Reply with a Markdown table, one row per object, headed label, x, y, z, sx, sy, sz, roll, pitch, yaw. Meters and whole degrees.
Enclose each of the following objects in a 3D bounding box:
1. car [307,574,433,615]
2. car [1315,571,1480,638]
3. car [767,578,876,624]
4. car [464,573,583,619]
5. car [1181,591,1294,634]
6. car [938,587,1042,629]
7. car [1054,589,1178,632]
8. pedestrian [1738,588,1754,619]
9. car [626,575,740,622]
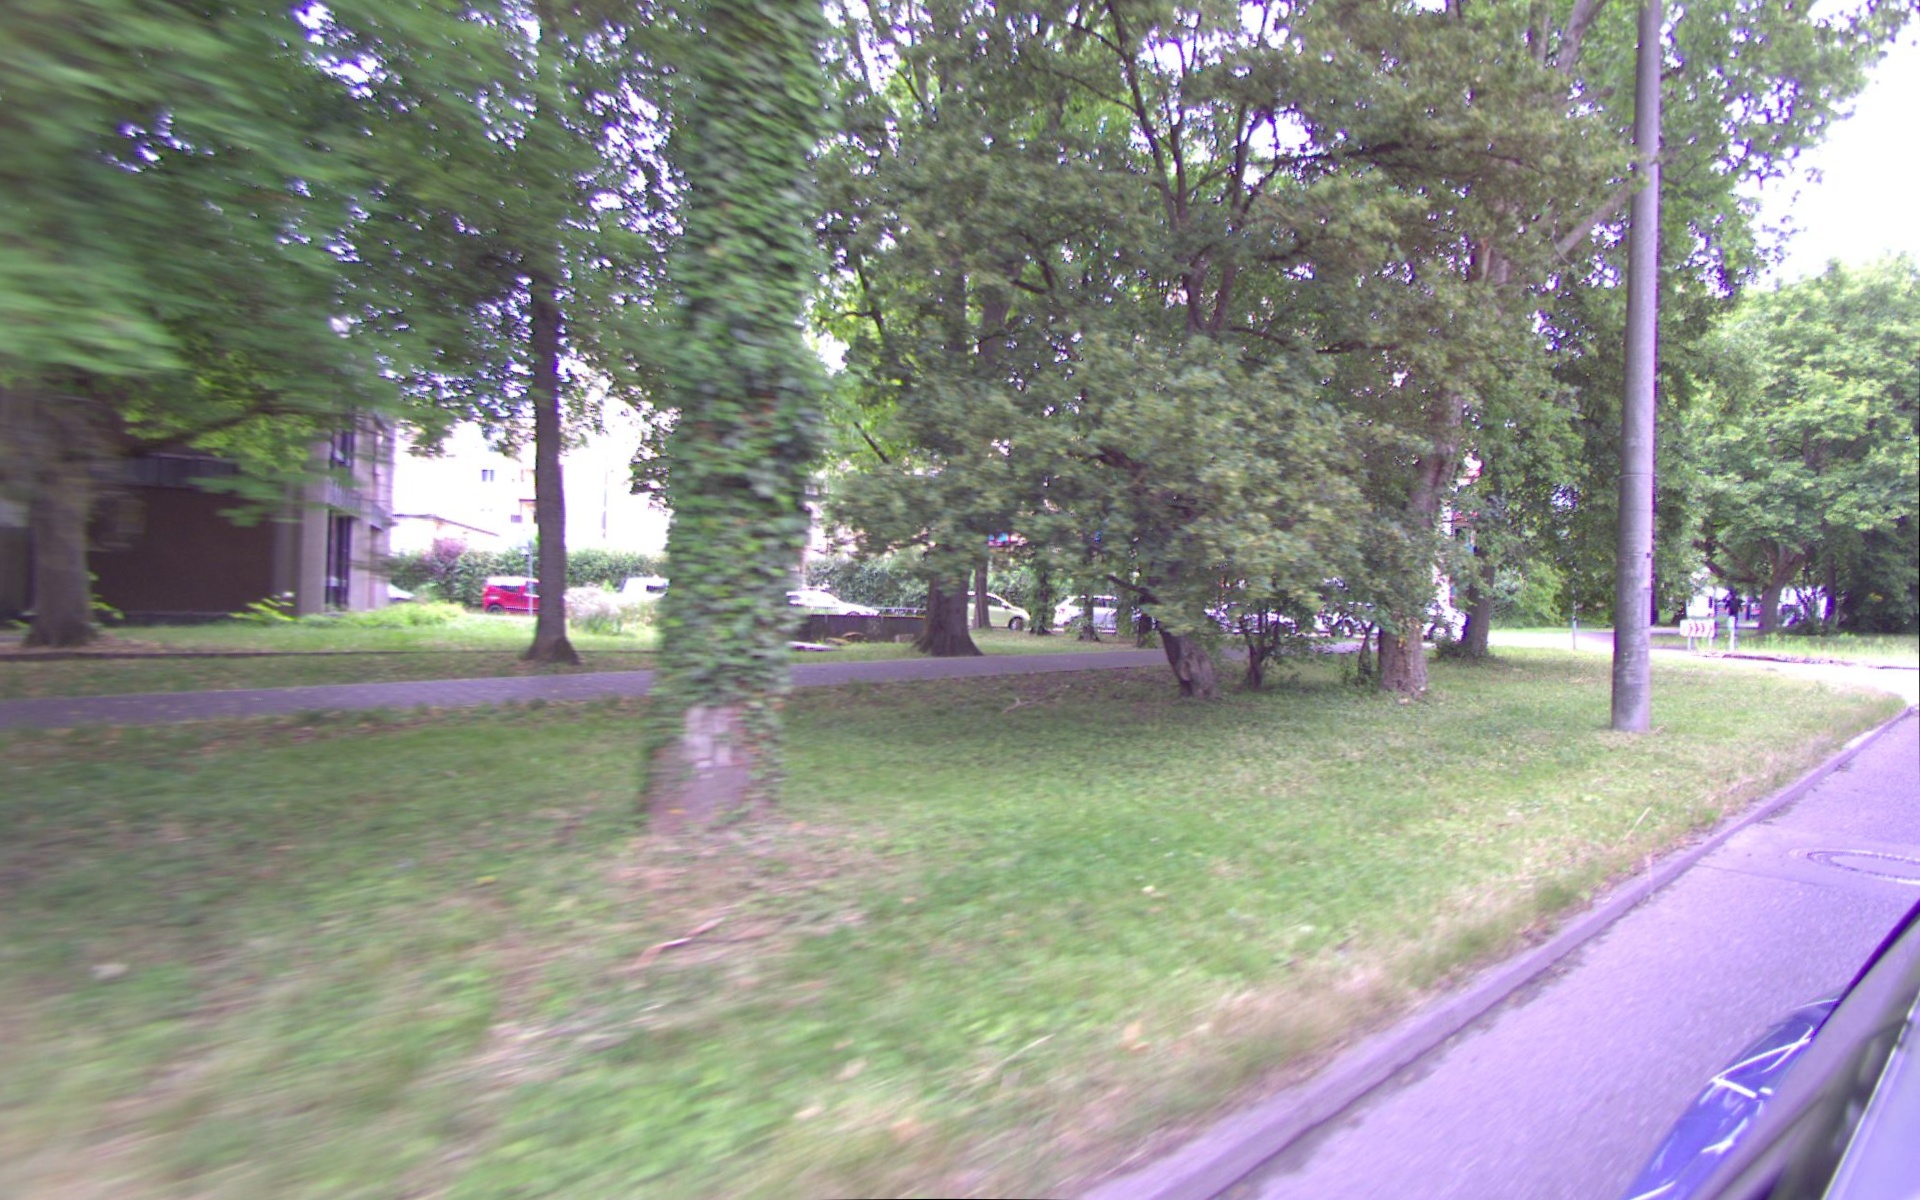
| label | x | y | z | sx | sy | sz | roll | pitch | yaw |
| --- | --- | --- | --- | --- | --- | --- | --- | --- | --- |
| car | -23.127 | -0.201 | 39.743 | 3.926 | 1.529 | 1.799 | 1 | 0 | 2 |
| car | 15.985 | 0.143 | 37.318 | 5.252 | 2.328 | 2.280 | 1 | -1 | 16 |
| car | -5.336 | 0.045 | 39.236 | 3.926 | 1.696 | 1.799 | 1 | 0 | 2 |
| car | -17.142 | -0.156 | 39.865 | 3.926 | 1.696 | 1.799 | 1 | 0 | 2 |
| car | 10.459 | 0.463 | 38.355 | 3.935 | 1.529 | 1.795 | 1 | 0 | 10 |
| car | 1.135 | 0.304 | 39.292 | 3.925 | 1.529 | 1.799 | 1 | 0 | 2 |
| car | 5.905 | 0.391 | 38.805 | 4.521 | 1.529 | 1.798 | 1 | 0 | 4 |
| pedestrian | 42.825 | 0.197 | 55.163 | 0.647 | 1.682 | 0.641 | 1 | 0 | 38 |
| car | -10.785 | -0.057 | 39.560 | 3.926 | 1.696 | 1.799 | 1 | 0 | 2 |
